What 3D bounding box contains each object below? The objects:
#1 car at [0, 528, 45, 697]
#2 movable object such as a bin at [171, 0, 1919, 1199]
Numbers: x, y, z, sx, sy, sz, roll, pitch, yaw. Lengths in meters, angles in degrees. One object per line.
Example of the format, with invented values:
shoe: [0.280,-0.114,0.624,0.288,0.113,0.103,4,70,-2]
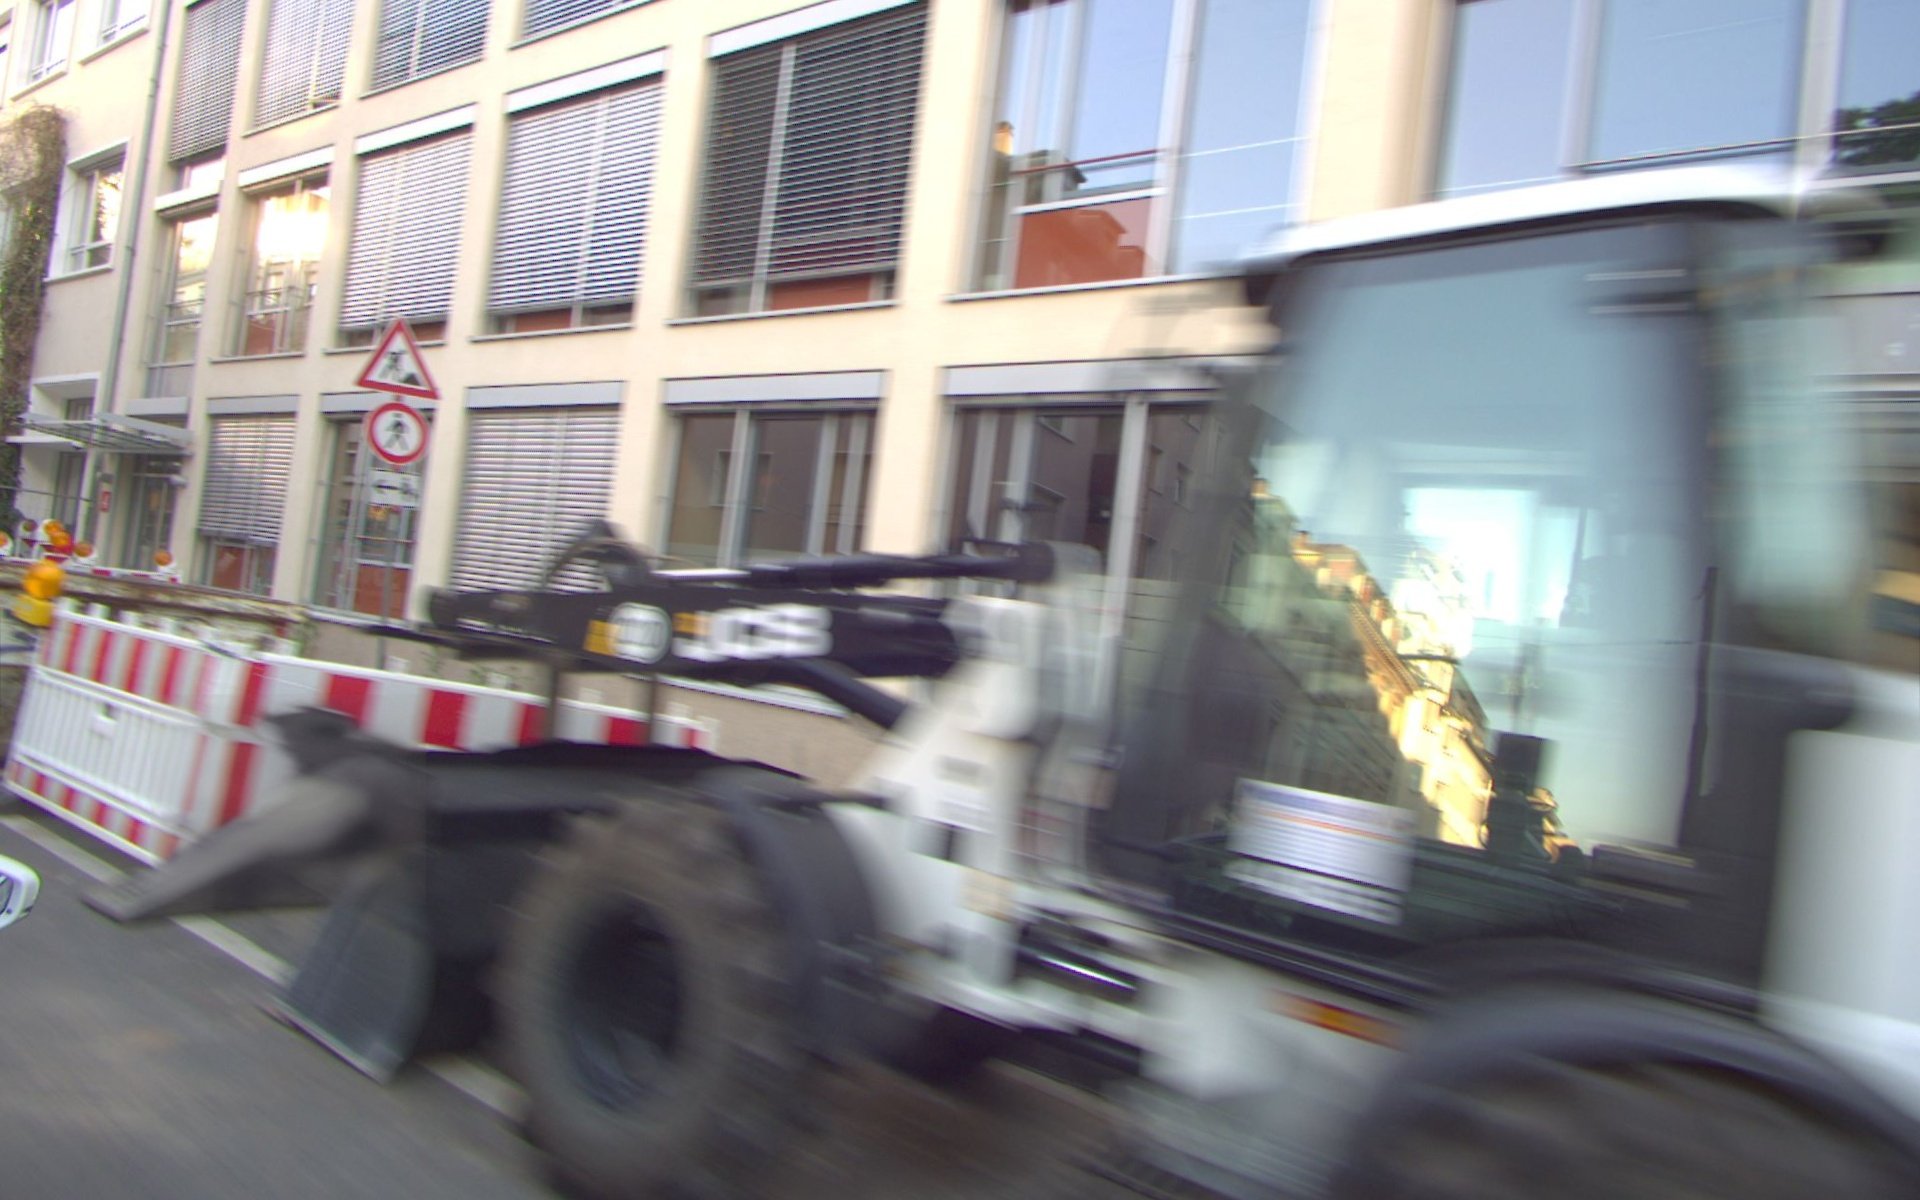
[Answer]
car: [-10.341,-0.154,9.164,4.405,1.421,1.698,6,-3,32]
movable object such as a bin: [0.243,0.355,3.070,5.451,2.625,2.171,6,-2,31]
